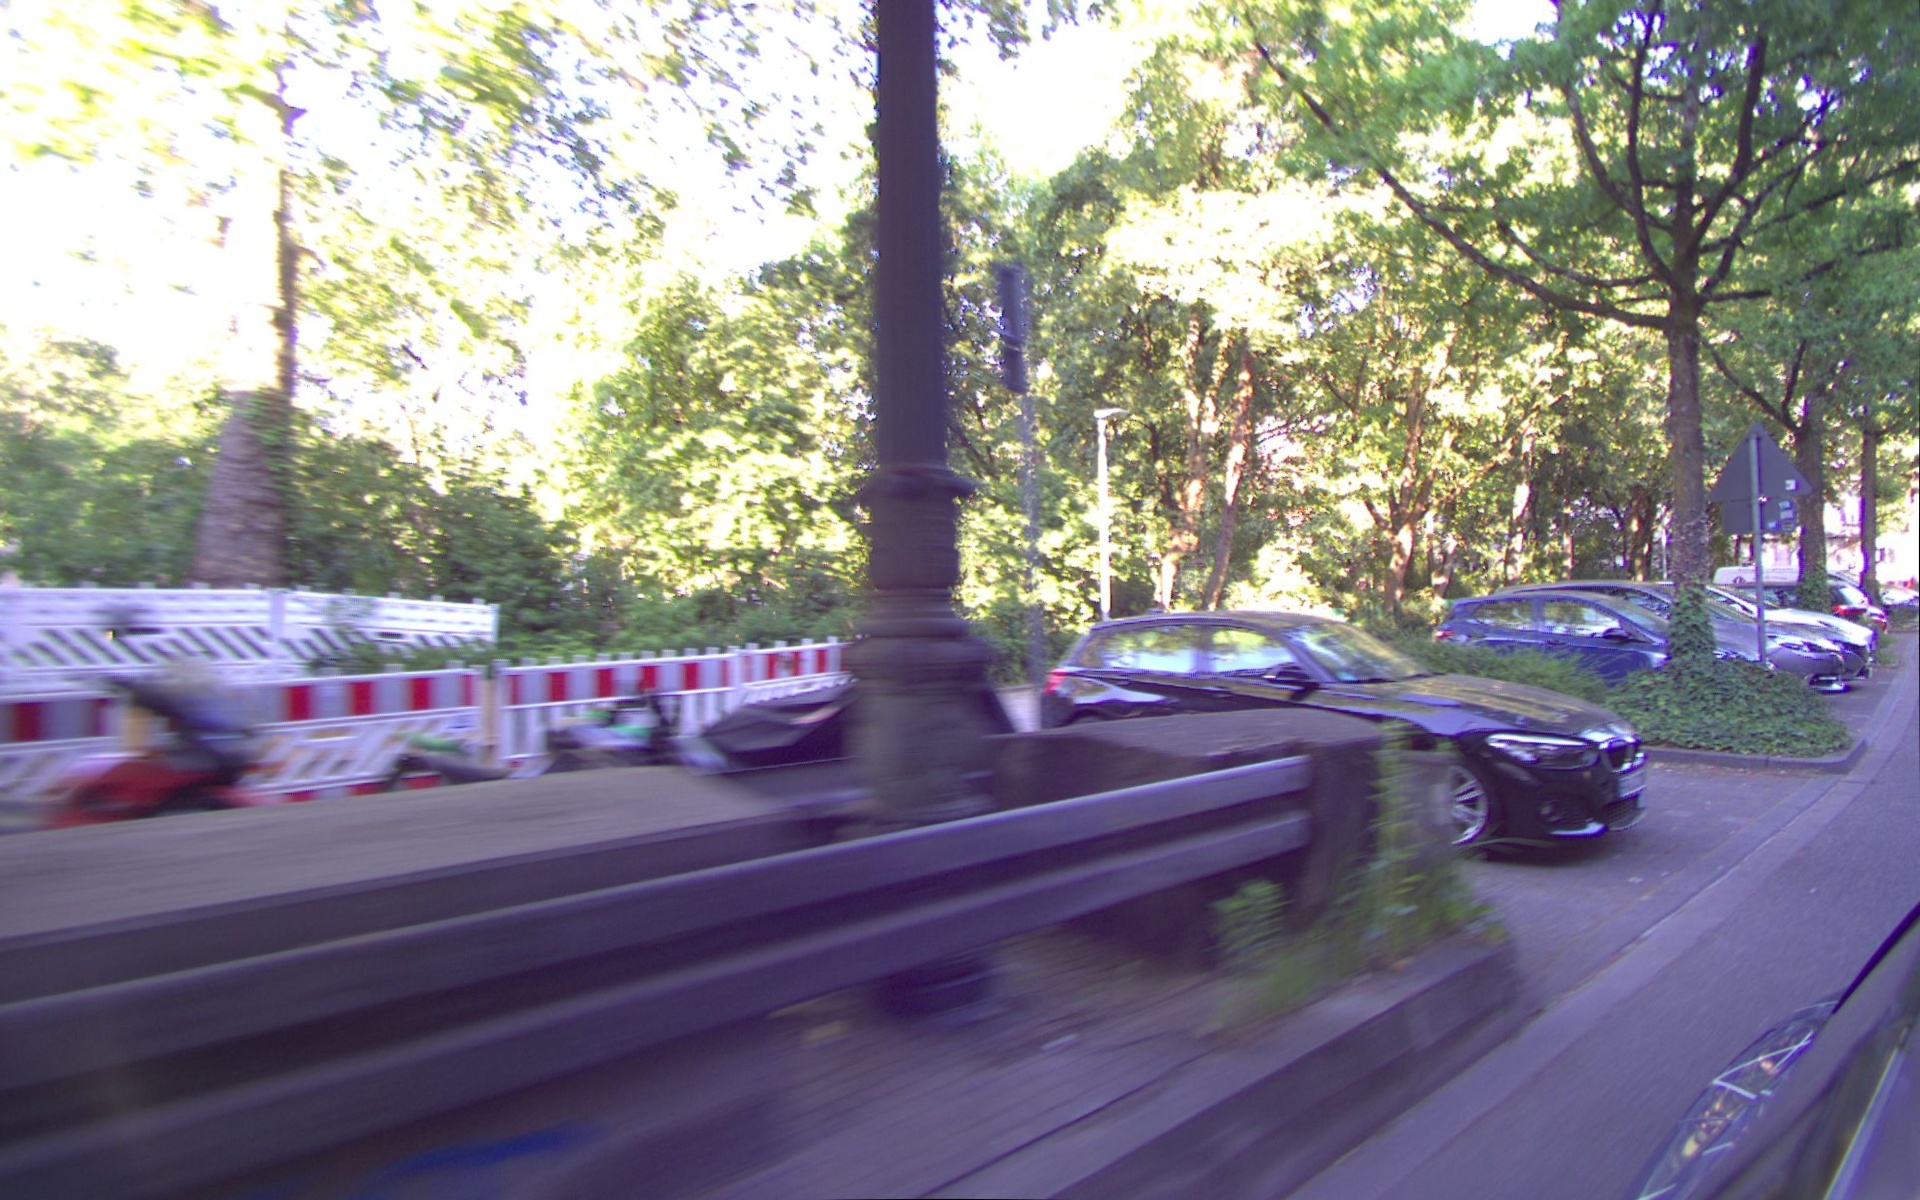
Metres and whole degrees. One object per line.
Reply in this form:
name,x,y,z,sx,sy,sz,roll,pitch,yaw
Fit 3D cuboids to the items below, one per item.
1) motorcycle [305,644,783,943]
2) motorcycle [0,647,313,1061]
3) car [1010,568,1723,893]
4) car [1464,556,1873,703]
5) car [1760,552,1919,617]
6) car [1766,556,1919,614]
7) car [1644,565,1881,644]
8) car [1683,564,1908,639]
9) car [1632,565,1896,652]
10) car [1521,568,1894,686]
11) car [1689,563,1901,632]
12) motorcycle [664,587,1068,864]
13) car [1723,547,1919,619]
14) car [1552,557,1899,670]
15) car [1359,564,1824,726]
motorcycle,-1.720,0.763,4.278,1.701,1.043,0.809,-3,-1,15
motorcycle,-3.221,0.789,3.467,1.701,1.147,0.709,-3,-1,15
car,2.527,0.722,7.218,1.647,1.597,4.377,-2,-1,-43
car,9.730,0.419,14.159,4.374,1.730,1.877,-4,-1,45
car,27.408,-0.464,31.139,1.766,1.780,3.996,-3,-1,-37
car,29.100,-0.475,33.139,1.770,1.648,3.987,-2,-1,-45
car,18.190,0.146,23.069,1.561,1.594,3.990,-2,-1,-43
car,20.243,0.066,24.649,1.561,1.594,3.990,-2,-1,-43
car,16.514,0.224,20.943,1.561,1.594,4.024,-2,-1,-43
car,11.528,0.436,15.855,1.845,1.552,4.377,-2,-1,-43
car,21.795,-0.030,26.545,1.636,1.594,3.994,-2,-1,-39
motorcycle,-0.503,0.615,5.409,1.914,1.253,0.897,-3,-1,24
car,25.388,-0.523,29.580,1.841,1.948,4.677,-2,2,-42
car,13.234,0.272,17.726,1.876,1.717,4.536,-2,-1,-43
car,7.591,0.480,12.650,1.703,1.626,4.597,-2,0,-37
